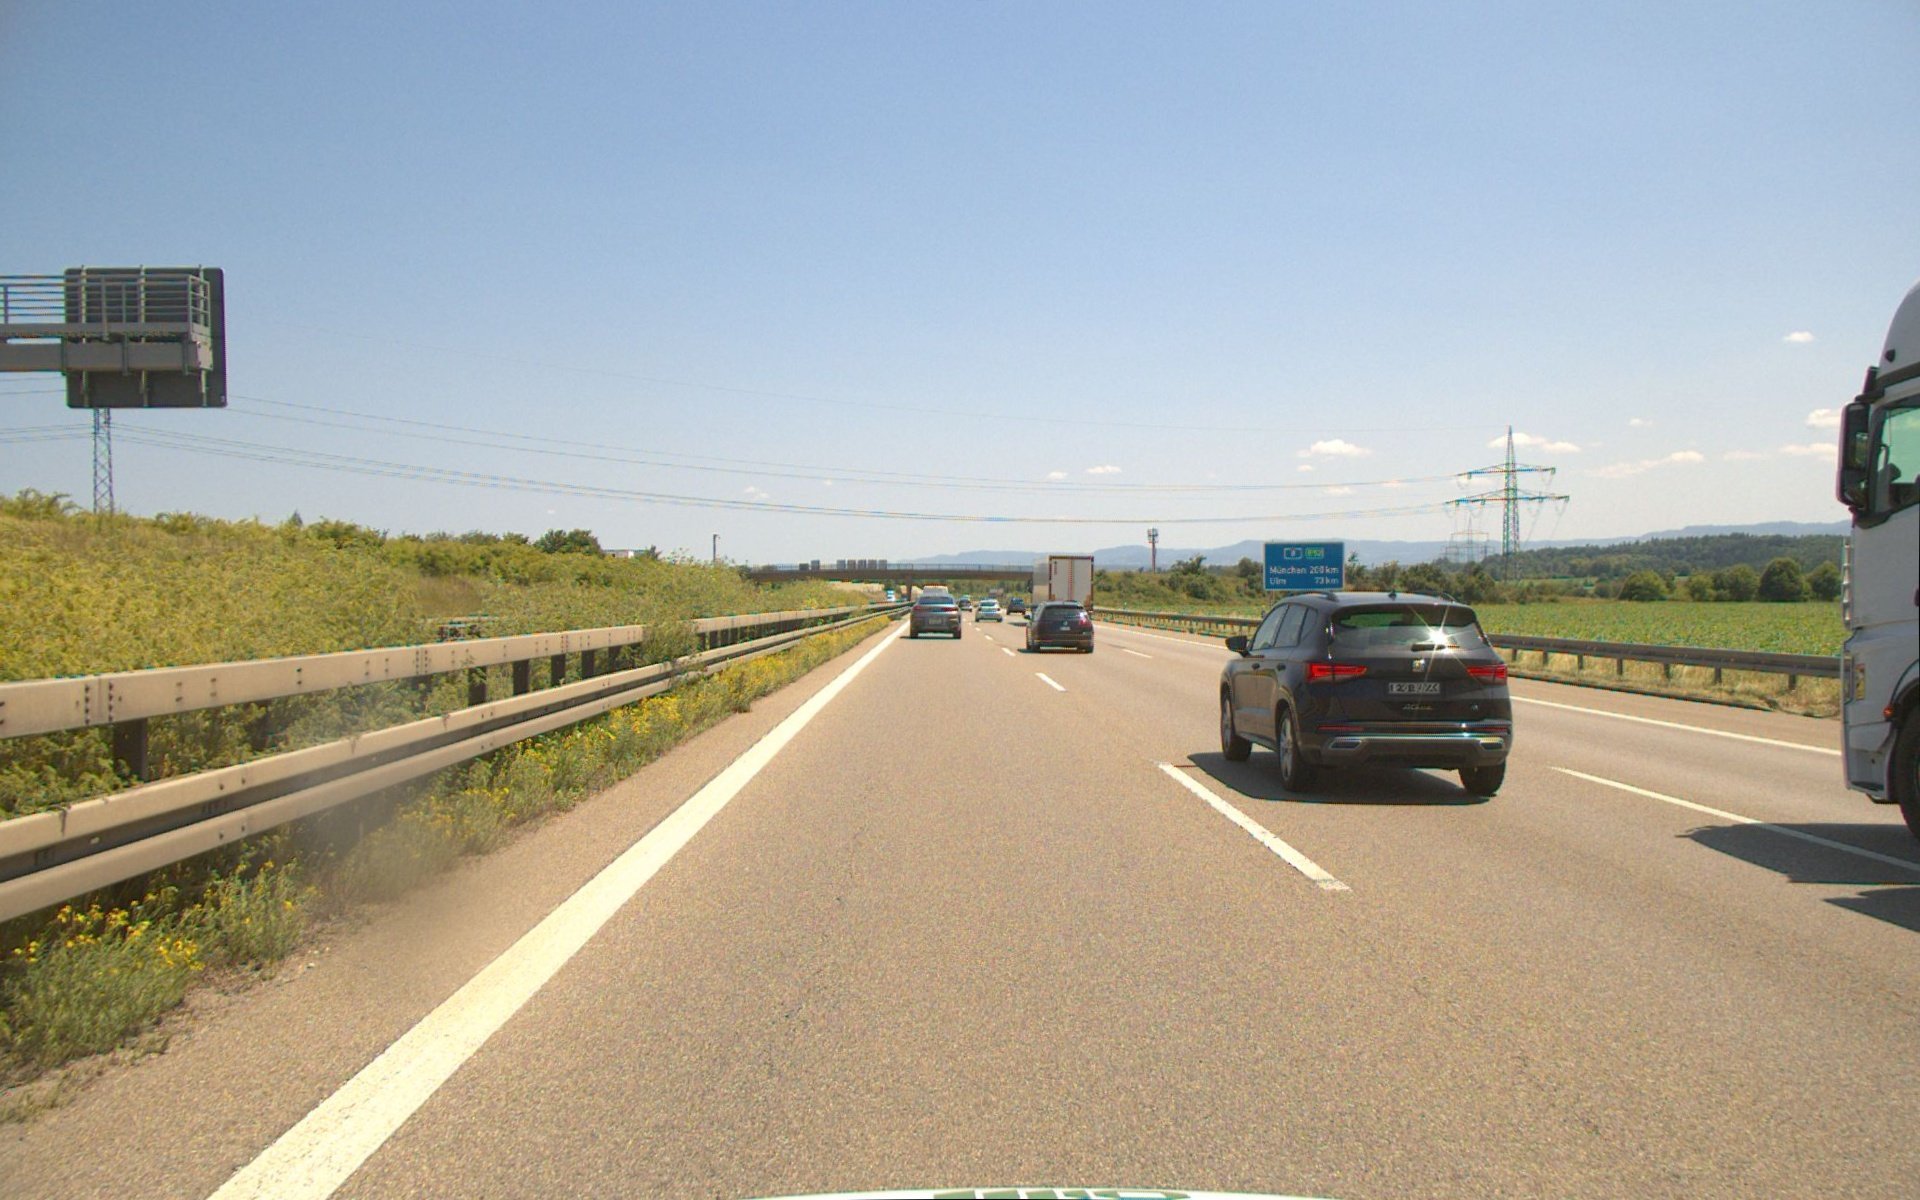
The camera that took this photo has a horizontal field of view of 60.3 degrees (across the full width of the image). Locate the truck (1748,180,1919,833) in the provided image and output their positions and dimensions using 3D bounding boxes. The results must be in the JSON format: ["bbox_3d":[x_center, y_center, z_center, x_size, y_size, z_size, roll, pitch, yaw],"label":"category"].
[{"bbox_3d":[7.551,-0.582,9.250,2.805,4.163,6.877,1,0,-2],"label":"truck"}]

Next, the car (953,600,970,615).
[{"bbox_3d":[0.125,0.883,198.271,1.953,1.712,3.999,1,0,-1],"label":"car"}]

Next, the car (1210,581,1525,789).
[{"bbox_3d":[3.468,0.669,14.800,1.760,1.589,3.822,1,0,-2],"label":"car"}]

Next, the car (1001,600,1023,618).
[{"bbox_3d":[5.143,0.895,164.177,1.953,1.712,3.999,1,0,-1],"label":"car"}]

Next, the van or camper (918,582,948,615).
[{"bbox_3d":[-1.888,-0.108,118.410,2.068,2.250,5.264,1,0,-1],"label":"van or camper"}]

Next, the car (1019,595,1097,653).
[{"bbox_3d":[2.850,0.675,48.939,1.894,1.602,4.933,1,0,-1],"label":"car"}]

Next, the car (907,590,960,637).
[{"bbox_3d":[-1.052,0.508,62.951,1.814,1.693,3.732,1,0,-4],"label":"car"}]

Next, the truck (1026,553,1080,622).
[{"bbox_3d":[5.996,-0.782,107.468,2.918,4.301,7.686,1,0,-1],"label":"truck"}]

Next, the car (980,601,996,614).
[{"bbox_3d":[3.799,1.005,225.812,1.953,1.712,3.999,1,0,-1],"label":"car"}]

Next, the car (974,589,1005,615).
[{"bbox_3d":[1.954,0.121,111.185,1.953,1.712,3.999,1,0,-1],"label":"car"}]

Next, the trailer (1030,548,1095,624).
[{"bbox_3d":[6.090,-0.778,100.169,2.883,4.271,13.594,1,0,-1],"label":"trailer"}]
